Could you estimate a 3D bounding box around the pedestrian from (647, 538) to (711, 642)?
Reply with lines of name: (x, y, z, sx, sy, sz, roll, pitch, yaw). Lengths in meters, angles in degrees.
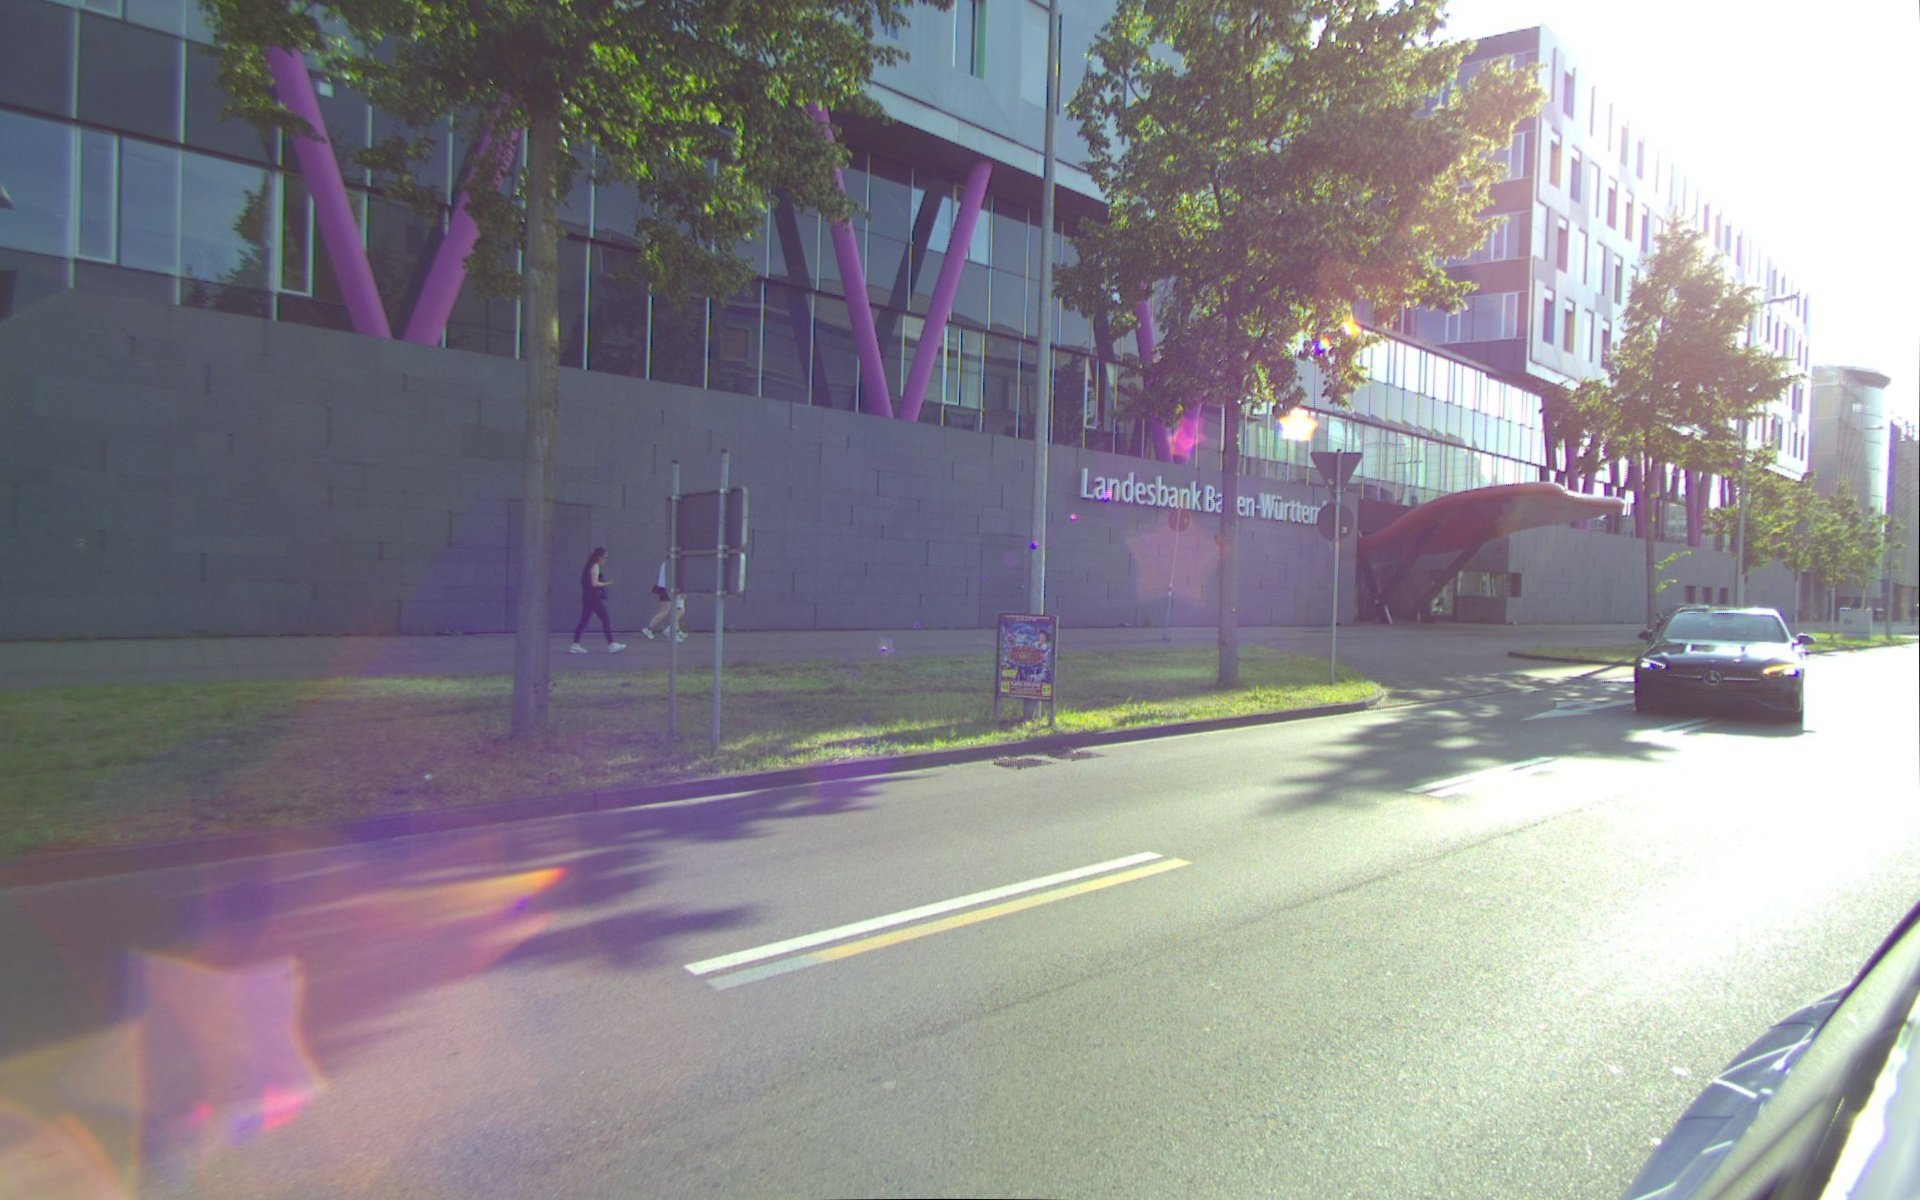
pedestrian: (-5.090, -0.188, 18.337, 0.829, 1.815, 0.756, 1, 3, -40)

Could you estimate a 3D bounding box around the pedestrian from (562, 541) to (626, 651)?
pedestrian: (-5.724, -0.068, 15.814, 0.724, 1.659, 0.695, 1, 1, -40)

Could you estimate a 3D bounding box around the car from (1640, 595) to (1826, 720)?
car: (11.081, 0.710, 14.459, 1.836, 1.468, 4.490, 1, 0, 39)

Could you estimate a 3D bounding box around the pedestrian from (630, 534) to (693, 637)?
pedestrian: (-5.584, -0.276, 18.938, 0.838, 1.847, 0.770, 1, 3, -40)
